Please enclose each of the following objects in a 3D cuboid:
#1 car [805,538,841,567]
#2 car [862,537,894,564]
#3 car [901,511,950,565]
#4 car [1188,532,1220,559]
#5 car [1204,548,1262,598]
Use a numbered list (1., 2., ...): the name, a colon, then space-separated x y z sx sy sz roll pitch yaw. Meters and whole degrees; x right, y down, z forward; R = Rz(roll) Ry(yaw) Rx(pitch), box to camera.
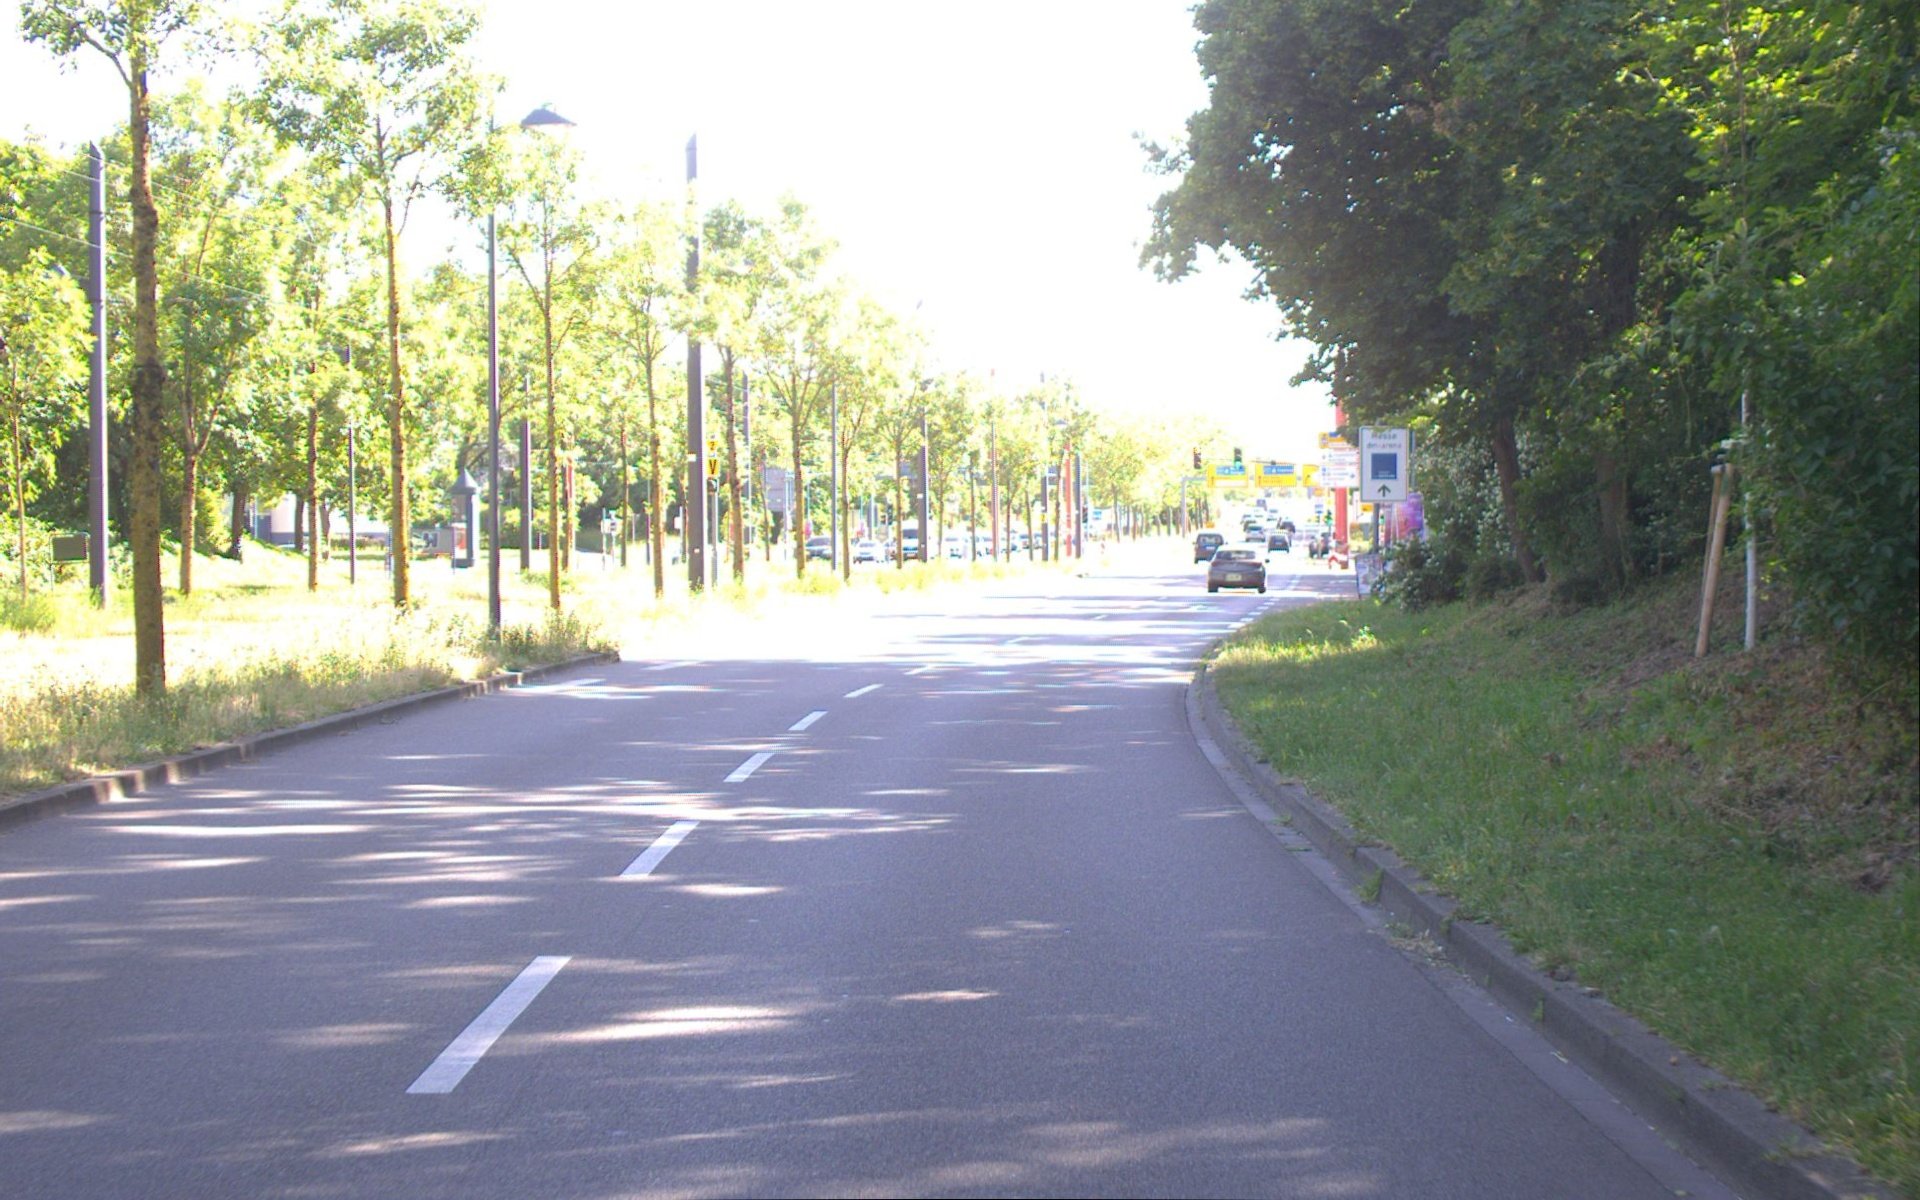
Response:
1. car: -8.003 -2.781 201.264 1.631 1.675 4.191 0 1 4
2. car: -5.249 -3.184 220.303 1.631 1.675 4.191 0 1 4
3. car: -2.098 -3.773 211.478 2.465 3.228 6.133 1 1 4
4. car: 14.042 -3.129 197.507 1.634 1.493 4.234 0 1 7
5. car: 8.579 -0.864 107.745 1.634 1.493 4.234 0 1 7
